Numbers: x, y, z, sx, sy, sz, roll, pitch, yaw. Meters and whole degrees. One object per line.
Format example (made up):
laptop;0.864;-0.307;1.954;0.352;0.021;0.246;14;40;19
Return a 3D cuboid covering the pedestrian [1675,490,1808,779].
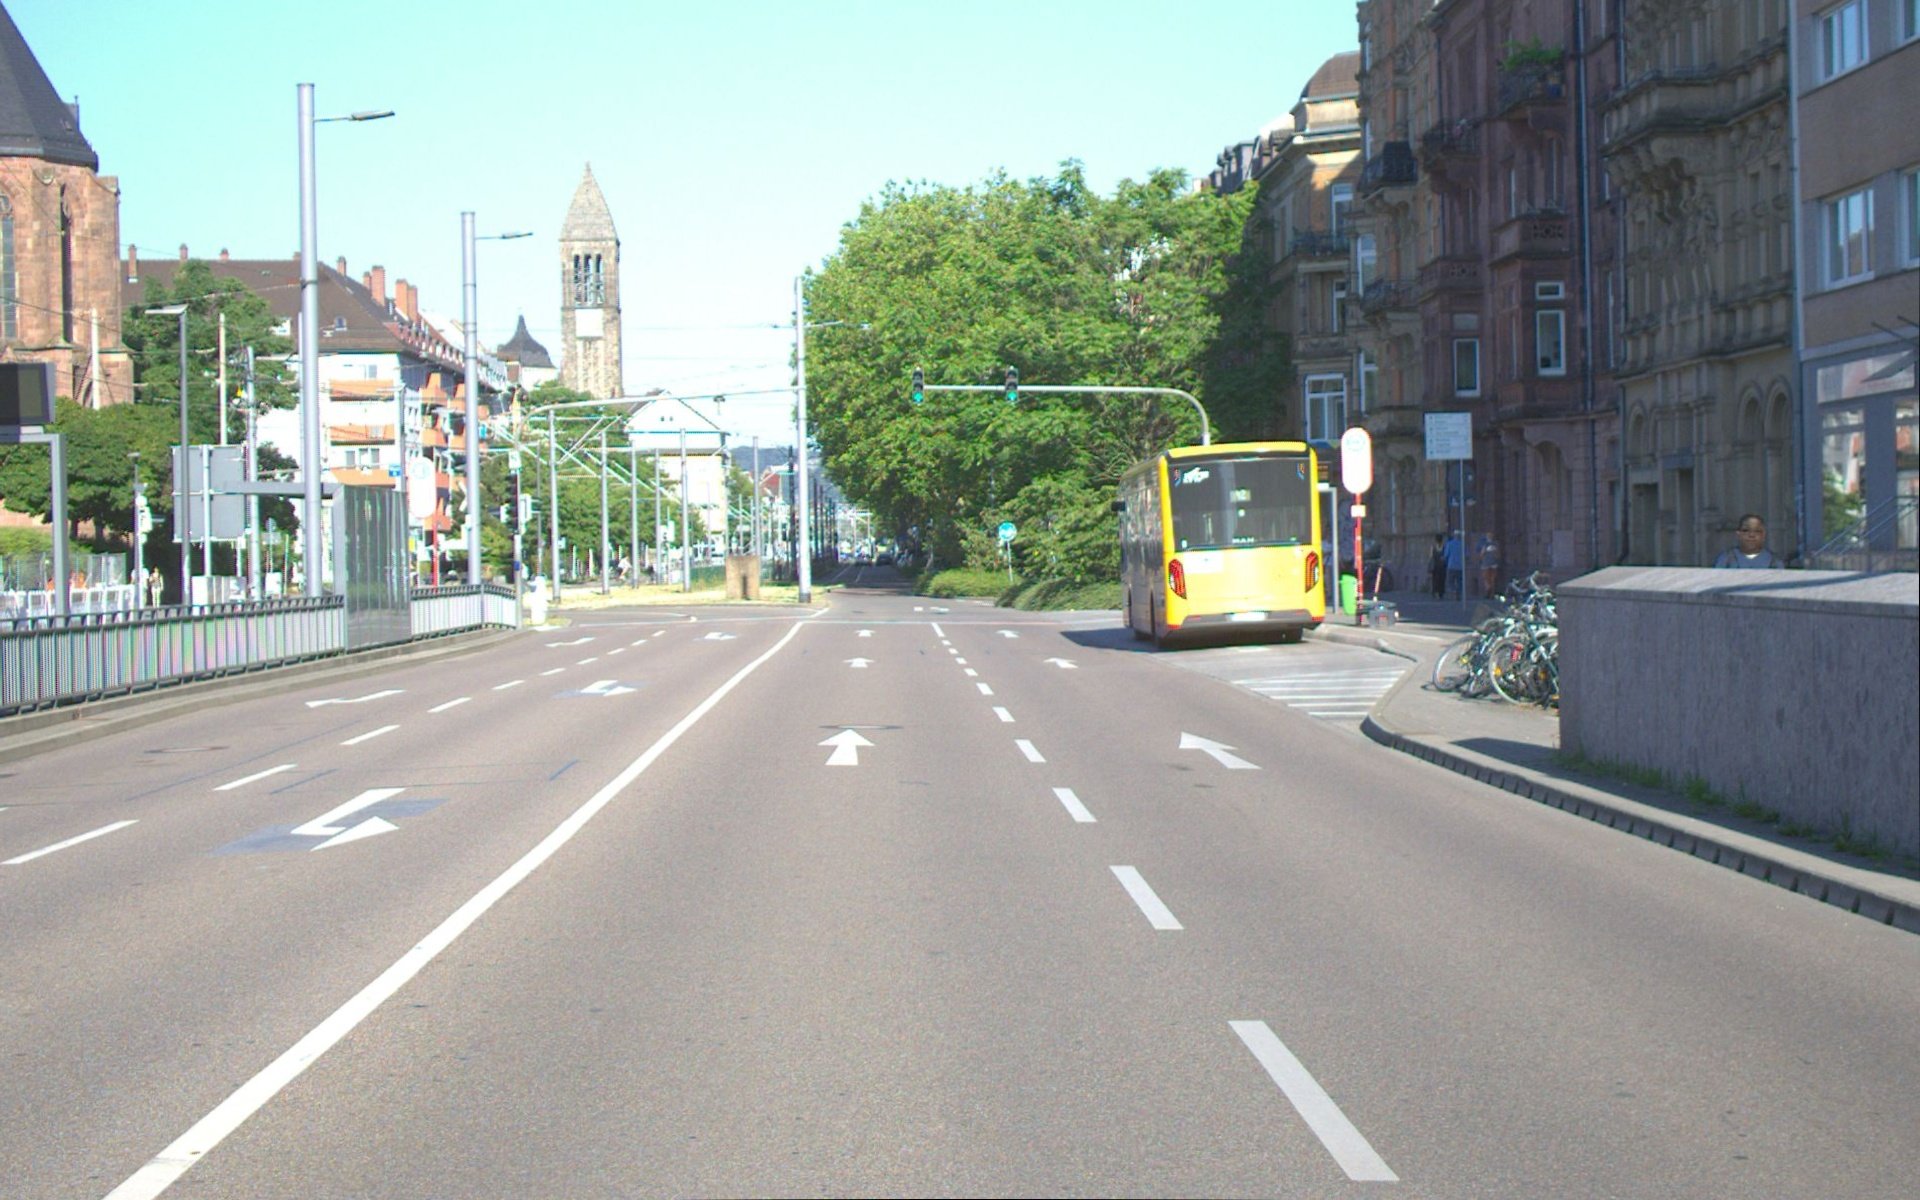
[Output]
pedestrian;5.619;0.235;24.754;0.751;2.006;0.698;-2;3;-1

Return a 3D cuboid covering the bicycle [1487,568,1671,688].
bicycle;6.233;0.274;34.655;1.765;1.183;0.470;0;2;-1

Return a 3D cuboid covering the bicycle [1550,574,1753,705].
bicycle;6.354;0.362;31.627;1.765;1.174;0.470;0;2;-1

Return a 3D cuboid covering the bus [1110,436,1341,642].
bus;4.472;-1.067;60.572;2.715;3.170;12.542;-2;1;-1

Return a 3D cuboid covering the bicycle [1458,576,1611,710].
bicycle;5.225;0.376;31.350;0.468;1.143;1.771;-1;2;-24

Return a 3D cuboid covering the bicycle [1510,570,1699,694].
bicycle;6.300;0.307;33.634;1.765;1.183;0.470;0;2;-1

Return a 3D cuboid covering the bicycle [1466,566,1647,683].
bicycle;6.180;0.254;35.651;1.791;1.183;0.470;0;2;-1

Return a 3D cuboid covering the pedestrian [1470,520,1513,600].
pedestrian;12.963;-0.984;83.914;0.822;1.923;1.137;-1;1;-1

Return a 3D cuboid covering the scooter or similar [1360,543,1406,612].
scooter or similar;7.893;-0.420;64.166;0.431;1.245;1.295;-3;0;-11

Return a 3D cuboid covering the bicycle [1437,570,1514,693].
bicycle;5.098;0.301;34.060;0.468;1.143;1.771;0;2;-1

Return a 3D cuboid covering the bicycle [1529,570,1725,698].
bicycle;6.322;0.321;32.627;1.765;1.183;0.470;0;2;-1

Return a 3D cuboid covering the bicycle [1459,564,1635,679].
bicycle;6.163;0.227;36.153;1.765;1.183;0.470;0;2;-1

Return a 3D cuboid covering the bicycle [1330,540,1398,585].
bicycle;11.926;-1.104;101.536;1.883;1.234;0.491;-2;0;-13

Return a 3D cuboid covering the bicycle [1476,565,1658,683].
bicycle;6.201;0.241;35.149;1.765;1.183;0.470;0;2;-1

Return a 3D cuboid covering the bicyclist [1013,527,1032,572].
bicyclist;2.567;-2.070;140.934;0.641;1.808;1.052;-2;0;-2

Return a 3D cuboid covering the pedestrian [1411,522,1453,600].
pedestrian;11.840;-0.977;86.263;0.822;1.923;1.137;-1;1;-1

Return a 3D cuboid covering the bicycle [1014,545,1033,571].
bicycle;2.590;-1.716;140.886;0.641;1.044;2.360;-2;0;-2

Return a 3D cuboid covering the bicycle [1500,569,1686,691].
bicycle;6.283;0.293;34.153;1.765;1.183;0.470;0;2;-1

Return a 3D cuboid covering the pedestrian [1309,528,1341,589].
pedestrian;10.069;-1.153;94.924;0.702;1.650;1.137;-1;1;-1

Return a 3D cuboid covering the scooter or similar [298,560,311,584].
scooter or similar;-35.088;-1.502;184.074;0.401;1.256;1.231;-2;4;-1

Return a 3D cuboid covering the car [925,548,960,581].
car;-0.854;-1.718;166.546;1.643;1.506;4.183;-2;1;-1

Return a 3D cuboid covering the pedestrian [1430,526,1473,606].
pedestrian;11.988;-0.845;83.897;0.822;1.923;1.137;-1;1;-1

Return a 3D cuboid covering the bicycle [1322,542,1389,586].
bicycle;11.801;-1.069;102.689;1.883;1.234;0.491;-2;0;-13
